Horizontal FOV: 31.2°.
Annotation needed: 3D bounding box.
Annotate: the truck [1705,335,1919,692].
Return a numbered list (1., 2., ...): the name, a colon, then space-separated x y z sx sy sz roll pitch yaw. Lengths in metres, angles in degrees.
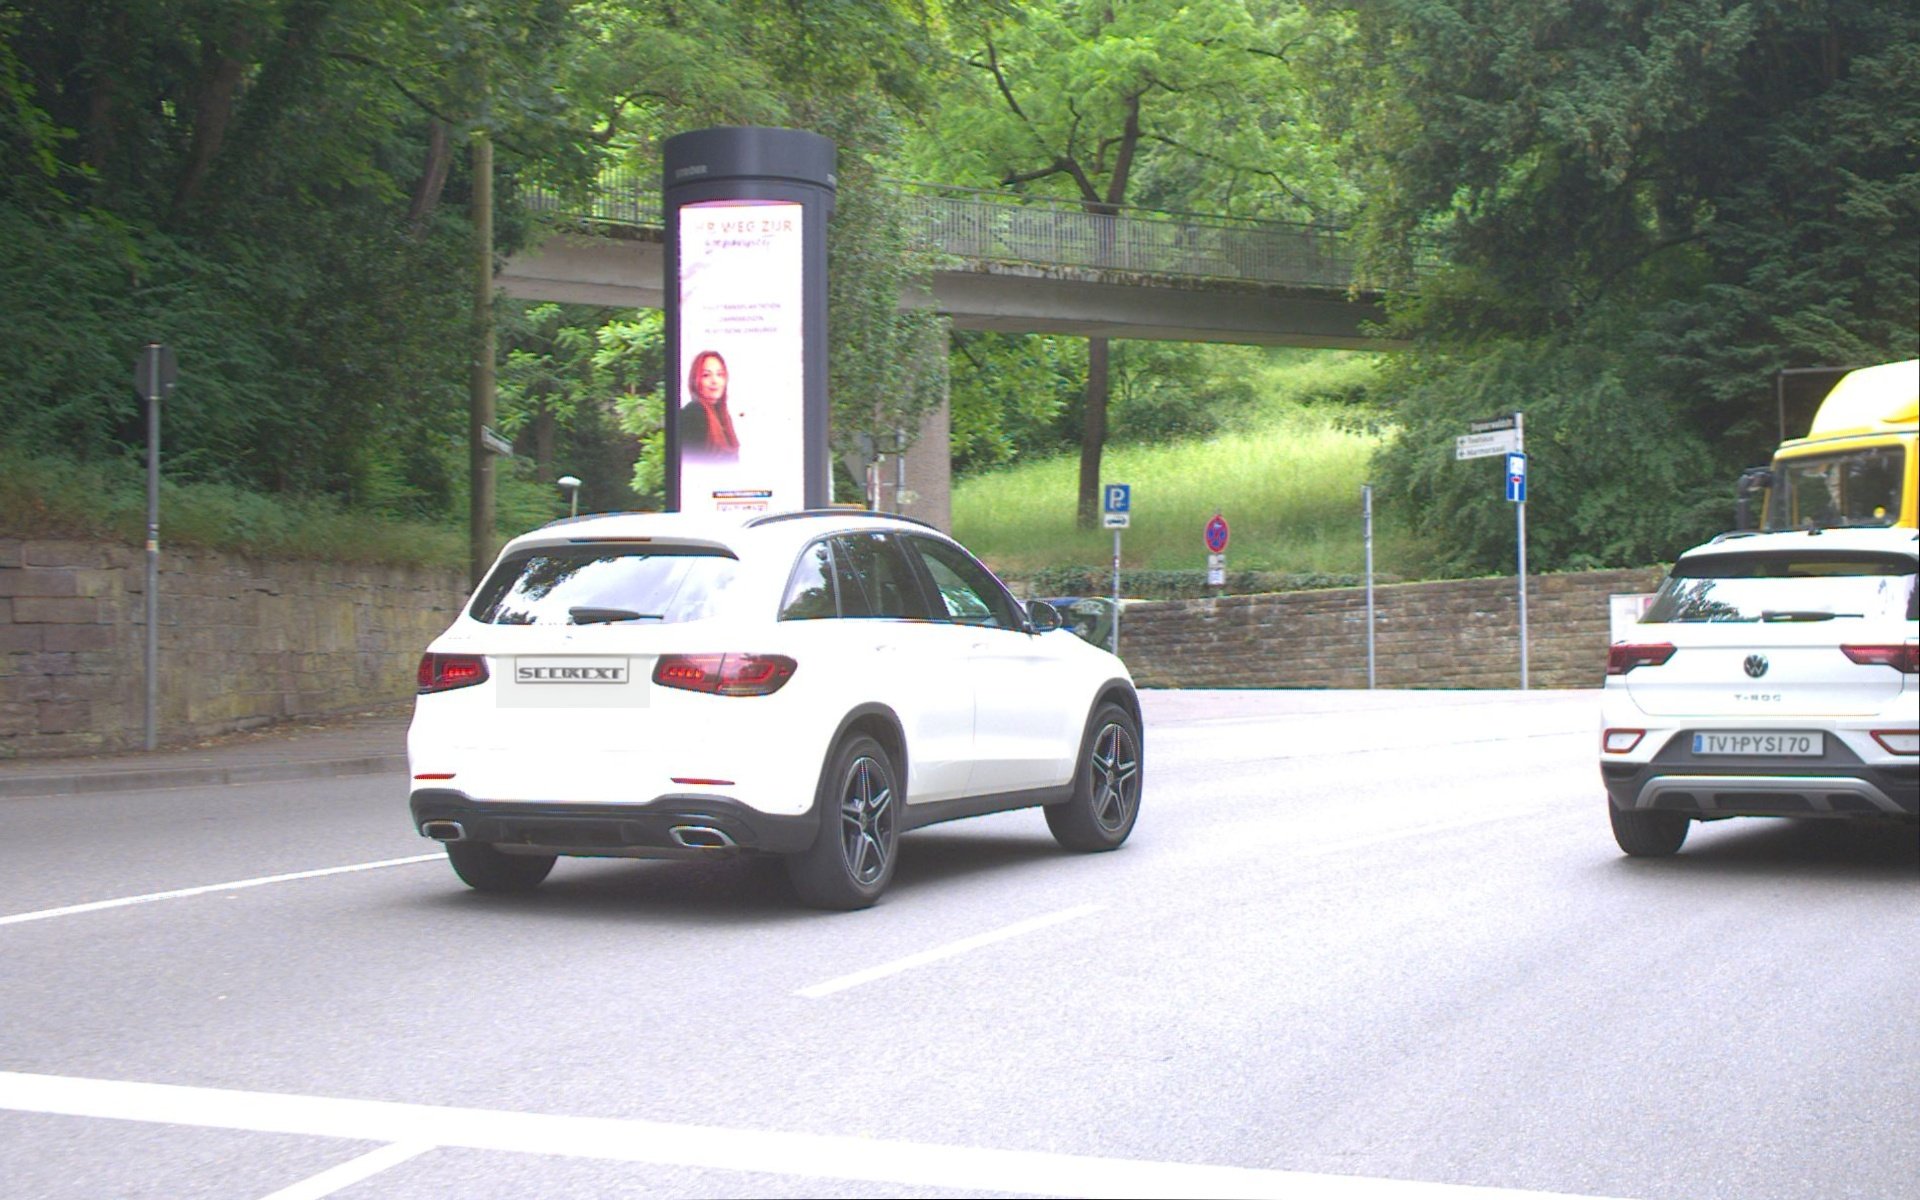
1. truck: 11.419 -0.853 34.582 7.557 3.289 2.758 -1 0 -27

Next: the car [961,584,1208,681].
1. car: 2.081 0.551 56.923 3.989 1.547 1.775 1 -1 -43

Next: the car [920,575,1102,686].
1. car: 0.621 0.379 44.904 1.748 1.354 4.001 -1 0 -8

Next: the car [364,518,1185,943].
1. car: -0.630 0.452 15.589 1.861 1.600 4.665 1 1 23

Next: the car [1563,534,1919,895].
1. car: 4.599 0.450 17.031 1.757 1.547 4.330 1 1 30
